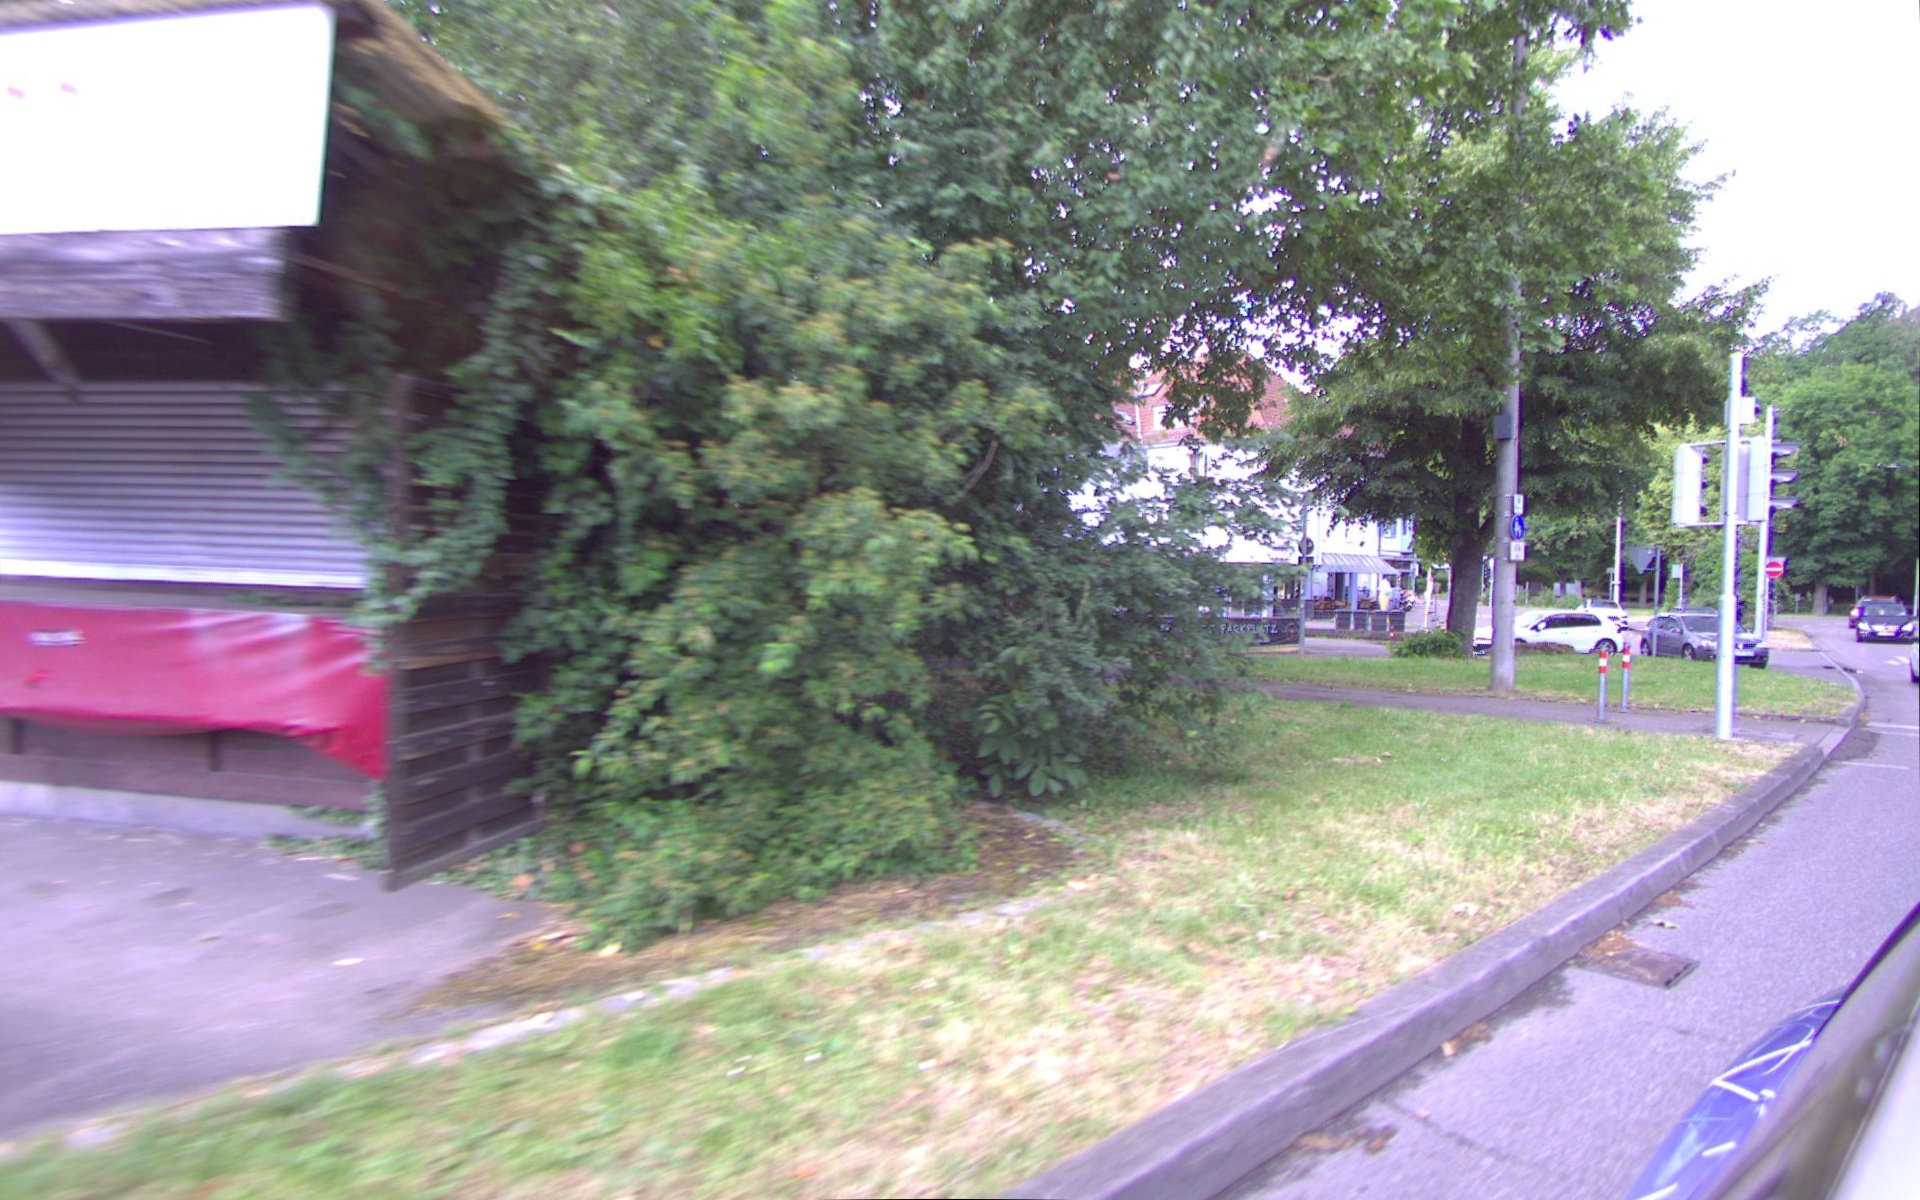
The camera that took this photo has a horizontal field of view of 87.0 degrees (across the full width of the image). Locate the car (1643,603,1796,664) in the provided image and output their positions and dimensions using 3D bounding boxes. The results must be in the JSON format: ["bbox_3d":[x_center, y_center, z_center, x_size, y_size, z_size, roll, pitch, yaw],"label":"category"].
[{"bbox_3d":[20.501,0.846,27.528,1.707,1.447,4.097,2,0,12],"label":"car"}]

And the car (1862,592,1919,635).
[{"bbox_3d":[38.191,0.516,41.356,1.724,1.539,3.944,3,3,39],"label":"car"}]

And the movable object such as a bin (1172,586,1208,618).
[{"bbox_3d":[10.856,0.076,47.752,1.073,1.433,1.219,0,3,-33],"label":"movable object such as a bin"}]

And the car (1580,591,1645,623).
[{"bbox_3d":[33.807,0.337,52.566,1.977,1.403,4.753,2,3,22],"label":"car"}]

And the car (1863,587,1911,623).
[{"bbox_3d":[47.476,0.208,51.881,1.670,1.661,4.040,3,3,41],"label":"car"}]

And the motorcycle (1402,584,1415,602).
[{"bbox_3d":[27.344,-0.447,61.668,0.486,1.044,1.707,2,2,30],"label":"motorcycle"}]

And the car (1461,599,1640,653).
[{"bbox_3d":[17.197,0.743,29.601,4.180,1.398,1.765,1,1,-1],"label":"car"}]

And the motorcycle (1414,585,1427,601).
[{"bbox_3d":[29.285,-0.440,64.377,0.517,0.997,1.803,2,2,31],"label":"motorcycle"}]

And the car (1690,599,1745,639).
[{"bbox_3d":[29.798,0.708,39.776,1.566,1.421,3.445,2,2,39],"label":"car"}]

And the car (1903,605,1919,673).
[{"bbox_3d":[22.171,0.909,22.144,1.619,1.527,3.950,2,1,35],"label":"car"}]
